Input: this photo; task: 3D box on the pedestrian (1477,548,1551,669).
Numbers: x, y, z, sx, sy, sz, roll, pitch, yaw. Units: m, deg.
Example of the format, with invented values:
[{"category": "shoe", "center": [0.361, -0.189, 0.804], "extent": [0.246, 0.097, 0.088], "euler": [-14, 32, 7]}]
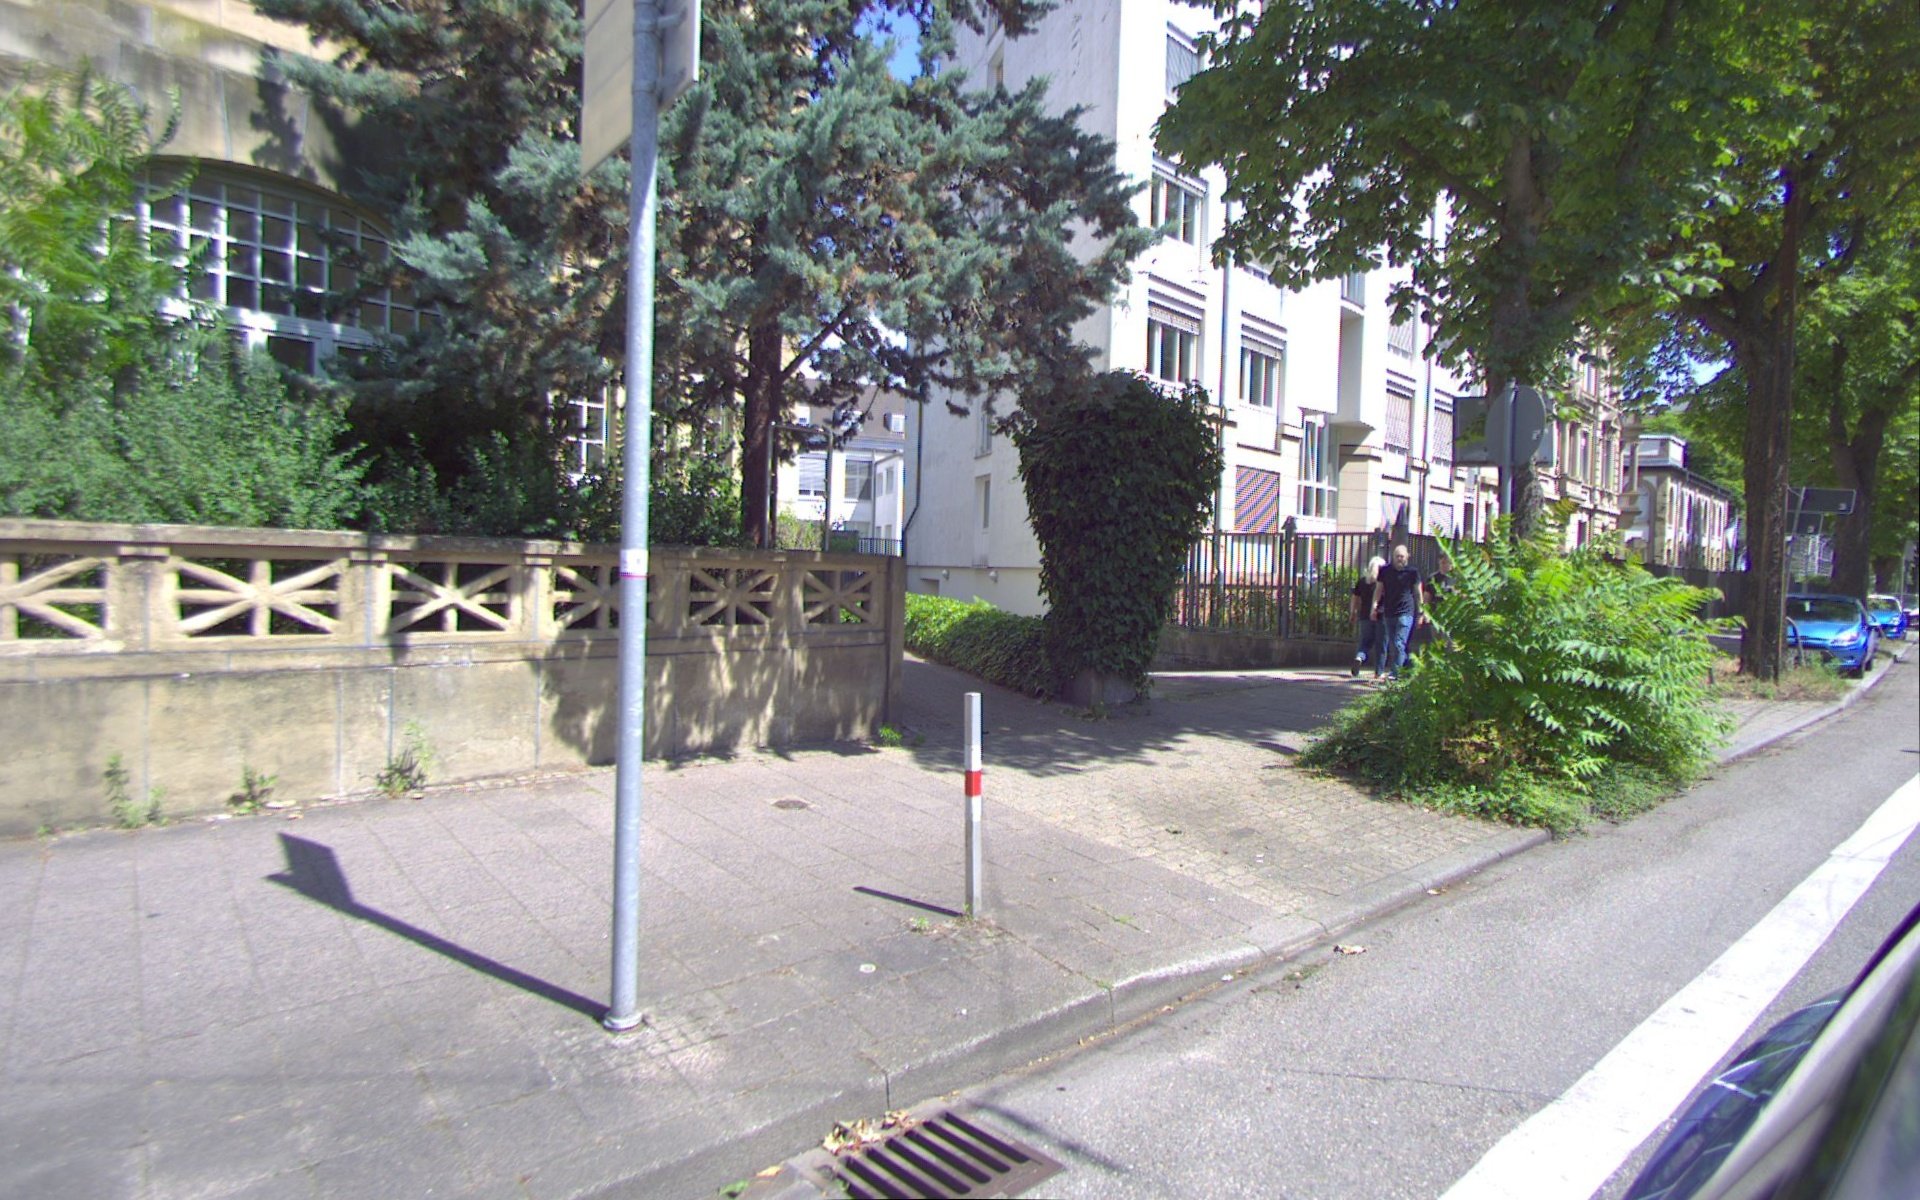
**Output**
[{"category": "pedestrian", "center": [8.701, 0.117, 15.892], "extent": [1.066, 1.819, 0.685], "euler": [0, 2, -45]}]

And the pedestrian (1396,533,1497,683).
[{"category": "pedestrian", "center": [6.090, 0.073, 12.660], "extent": [1.035, 1.783, 0.788], "euler": [0, 2, -45]}]

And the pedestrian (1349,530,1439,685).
[{"category": "pedestrian", "center": [5.401, 0.076, 12.577], "extent": [0.961, 1.834, 0.661], "euler": [0, 2, -45]}]

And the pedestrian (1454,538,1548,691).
[{"category": "pedestrian", "center": [6.632, 0.154, 12.401], "extent": [0.931, 1.798, 0.705], "euler": [0, 2, -43]}]

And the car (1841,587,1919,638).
[{"category": "car", "center": [29.384, 0.373, 32.270], "extent": [1.692, 1.470, 3.418], "euler": [3, 2, 44]}]

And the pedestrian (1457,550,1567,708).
[{"category": "pedestrian", "center": [6.186, 0.293, 11.345], "extent": [0.957, 1.671, 0.767], "euler": [0, 2, -43]}]

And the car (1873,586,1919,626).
[{"category": "car", "center": [42.389, 0.268, 45.418], "extent": [4.017, 1.635, 1.732], "euler": [0, 4, -44]}]

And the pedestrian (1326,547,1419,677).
[{"category": "pedestrian", "center": [5.561, 0.139, 13.644], "extent": [0.857, 1.666, 0.823], "euler": [3, 2, 44]}]

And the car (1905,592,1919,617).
[{"category": "car", "center": [57.978, 0.281, 60.713], "extent": [3.761, 1.419, 1.624], "euler": [0, 5, -45]}]

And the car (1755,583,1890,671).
[{"category": "car", "center": [16.574, 0.454, 19.391], "extent": [1.678, 1.461, 3.661], "euler": [3, 2, 44]}]
